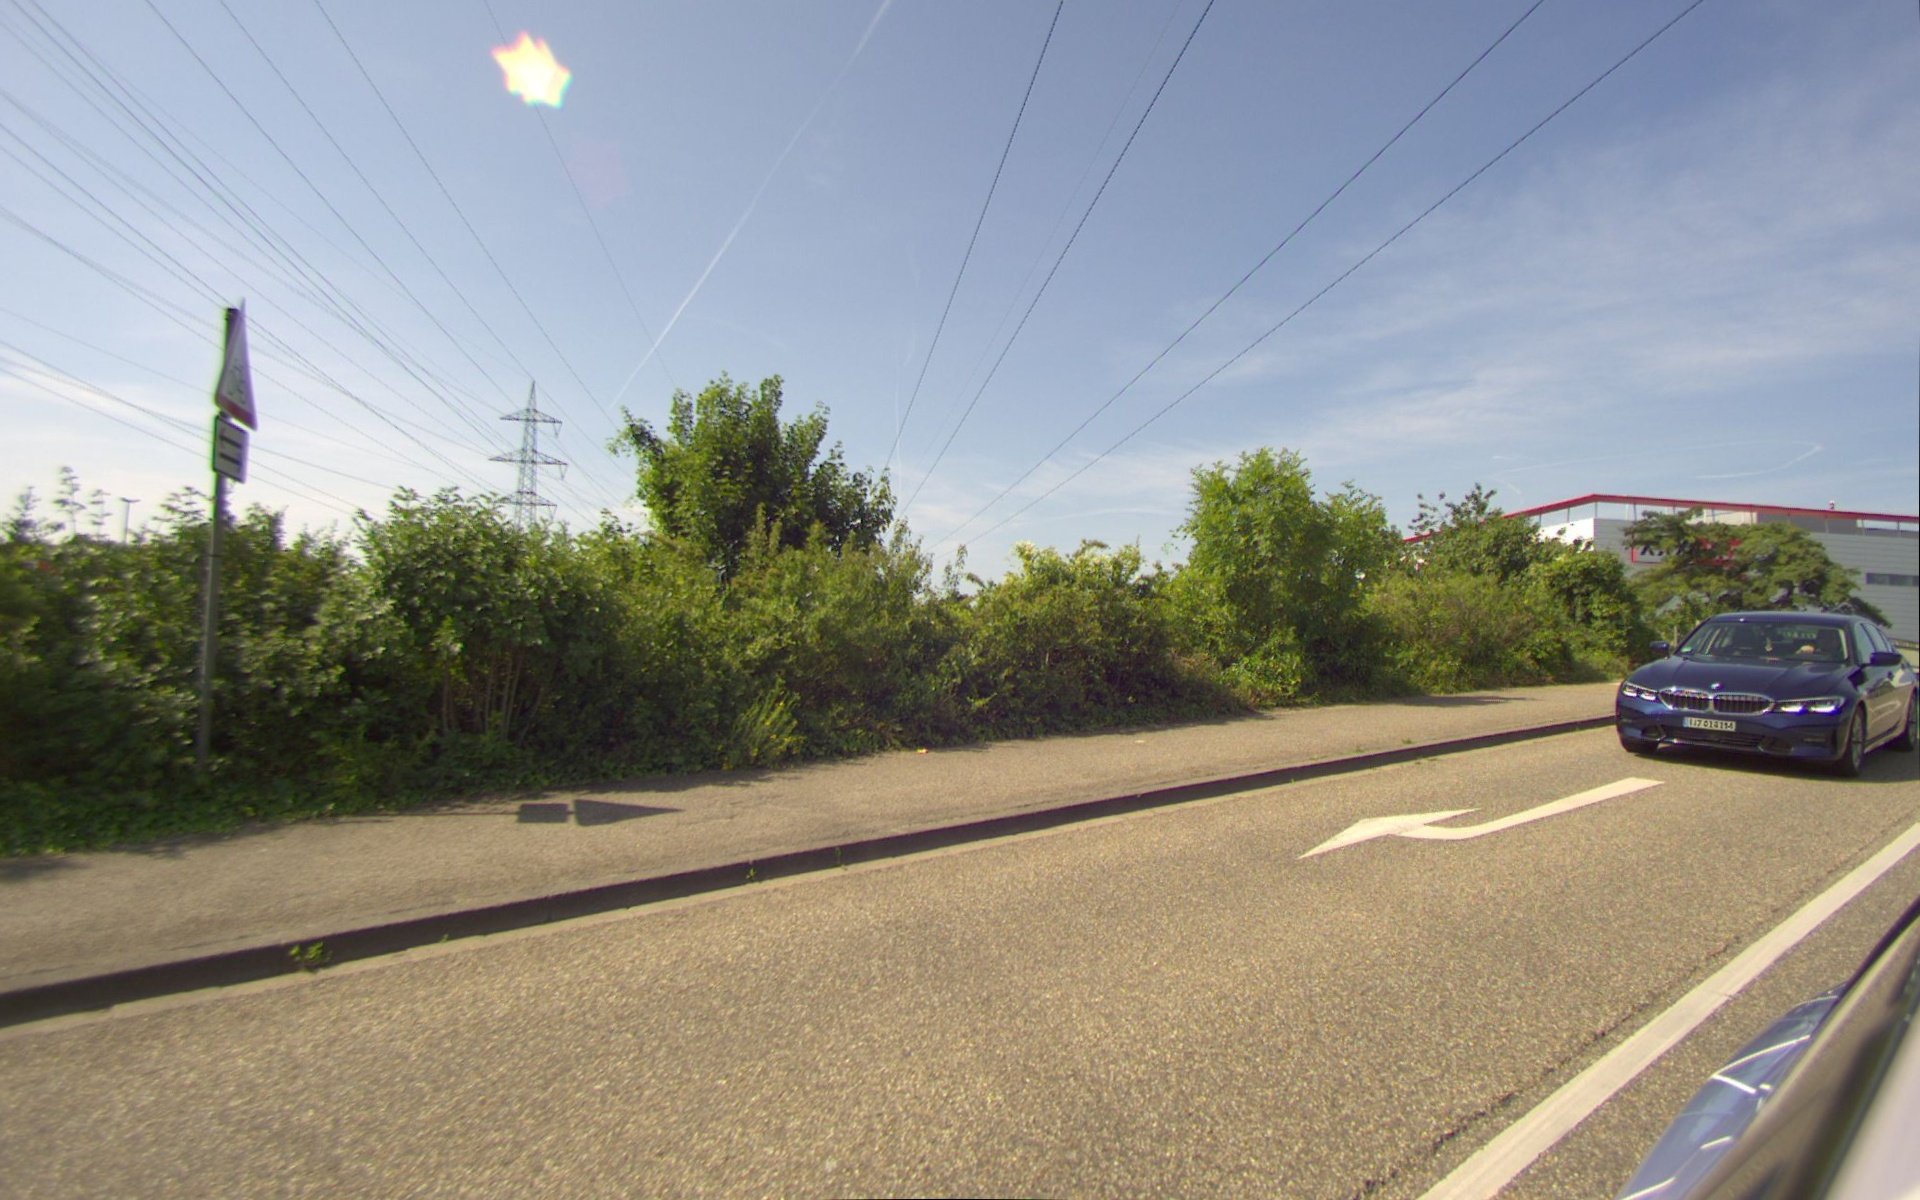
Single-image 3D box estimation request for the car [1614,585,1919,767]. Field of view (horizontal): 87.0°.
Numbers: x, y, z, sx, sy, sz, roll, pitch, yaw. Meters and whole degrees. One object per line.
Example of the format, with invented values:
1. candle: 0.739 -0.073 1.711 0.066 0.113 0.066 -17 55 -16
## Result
1. car: 8.588 0.776 10.483 4.437 1.503 1.790 4 -4 -39
